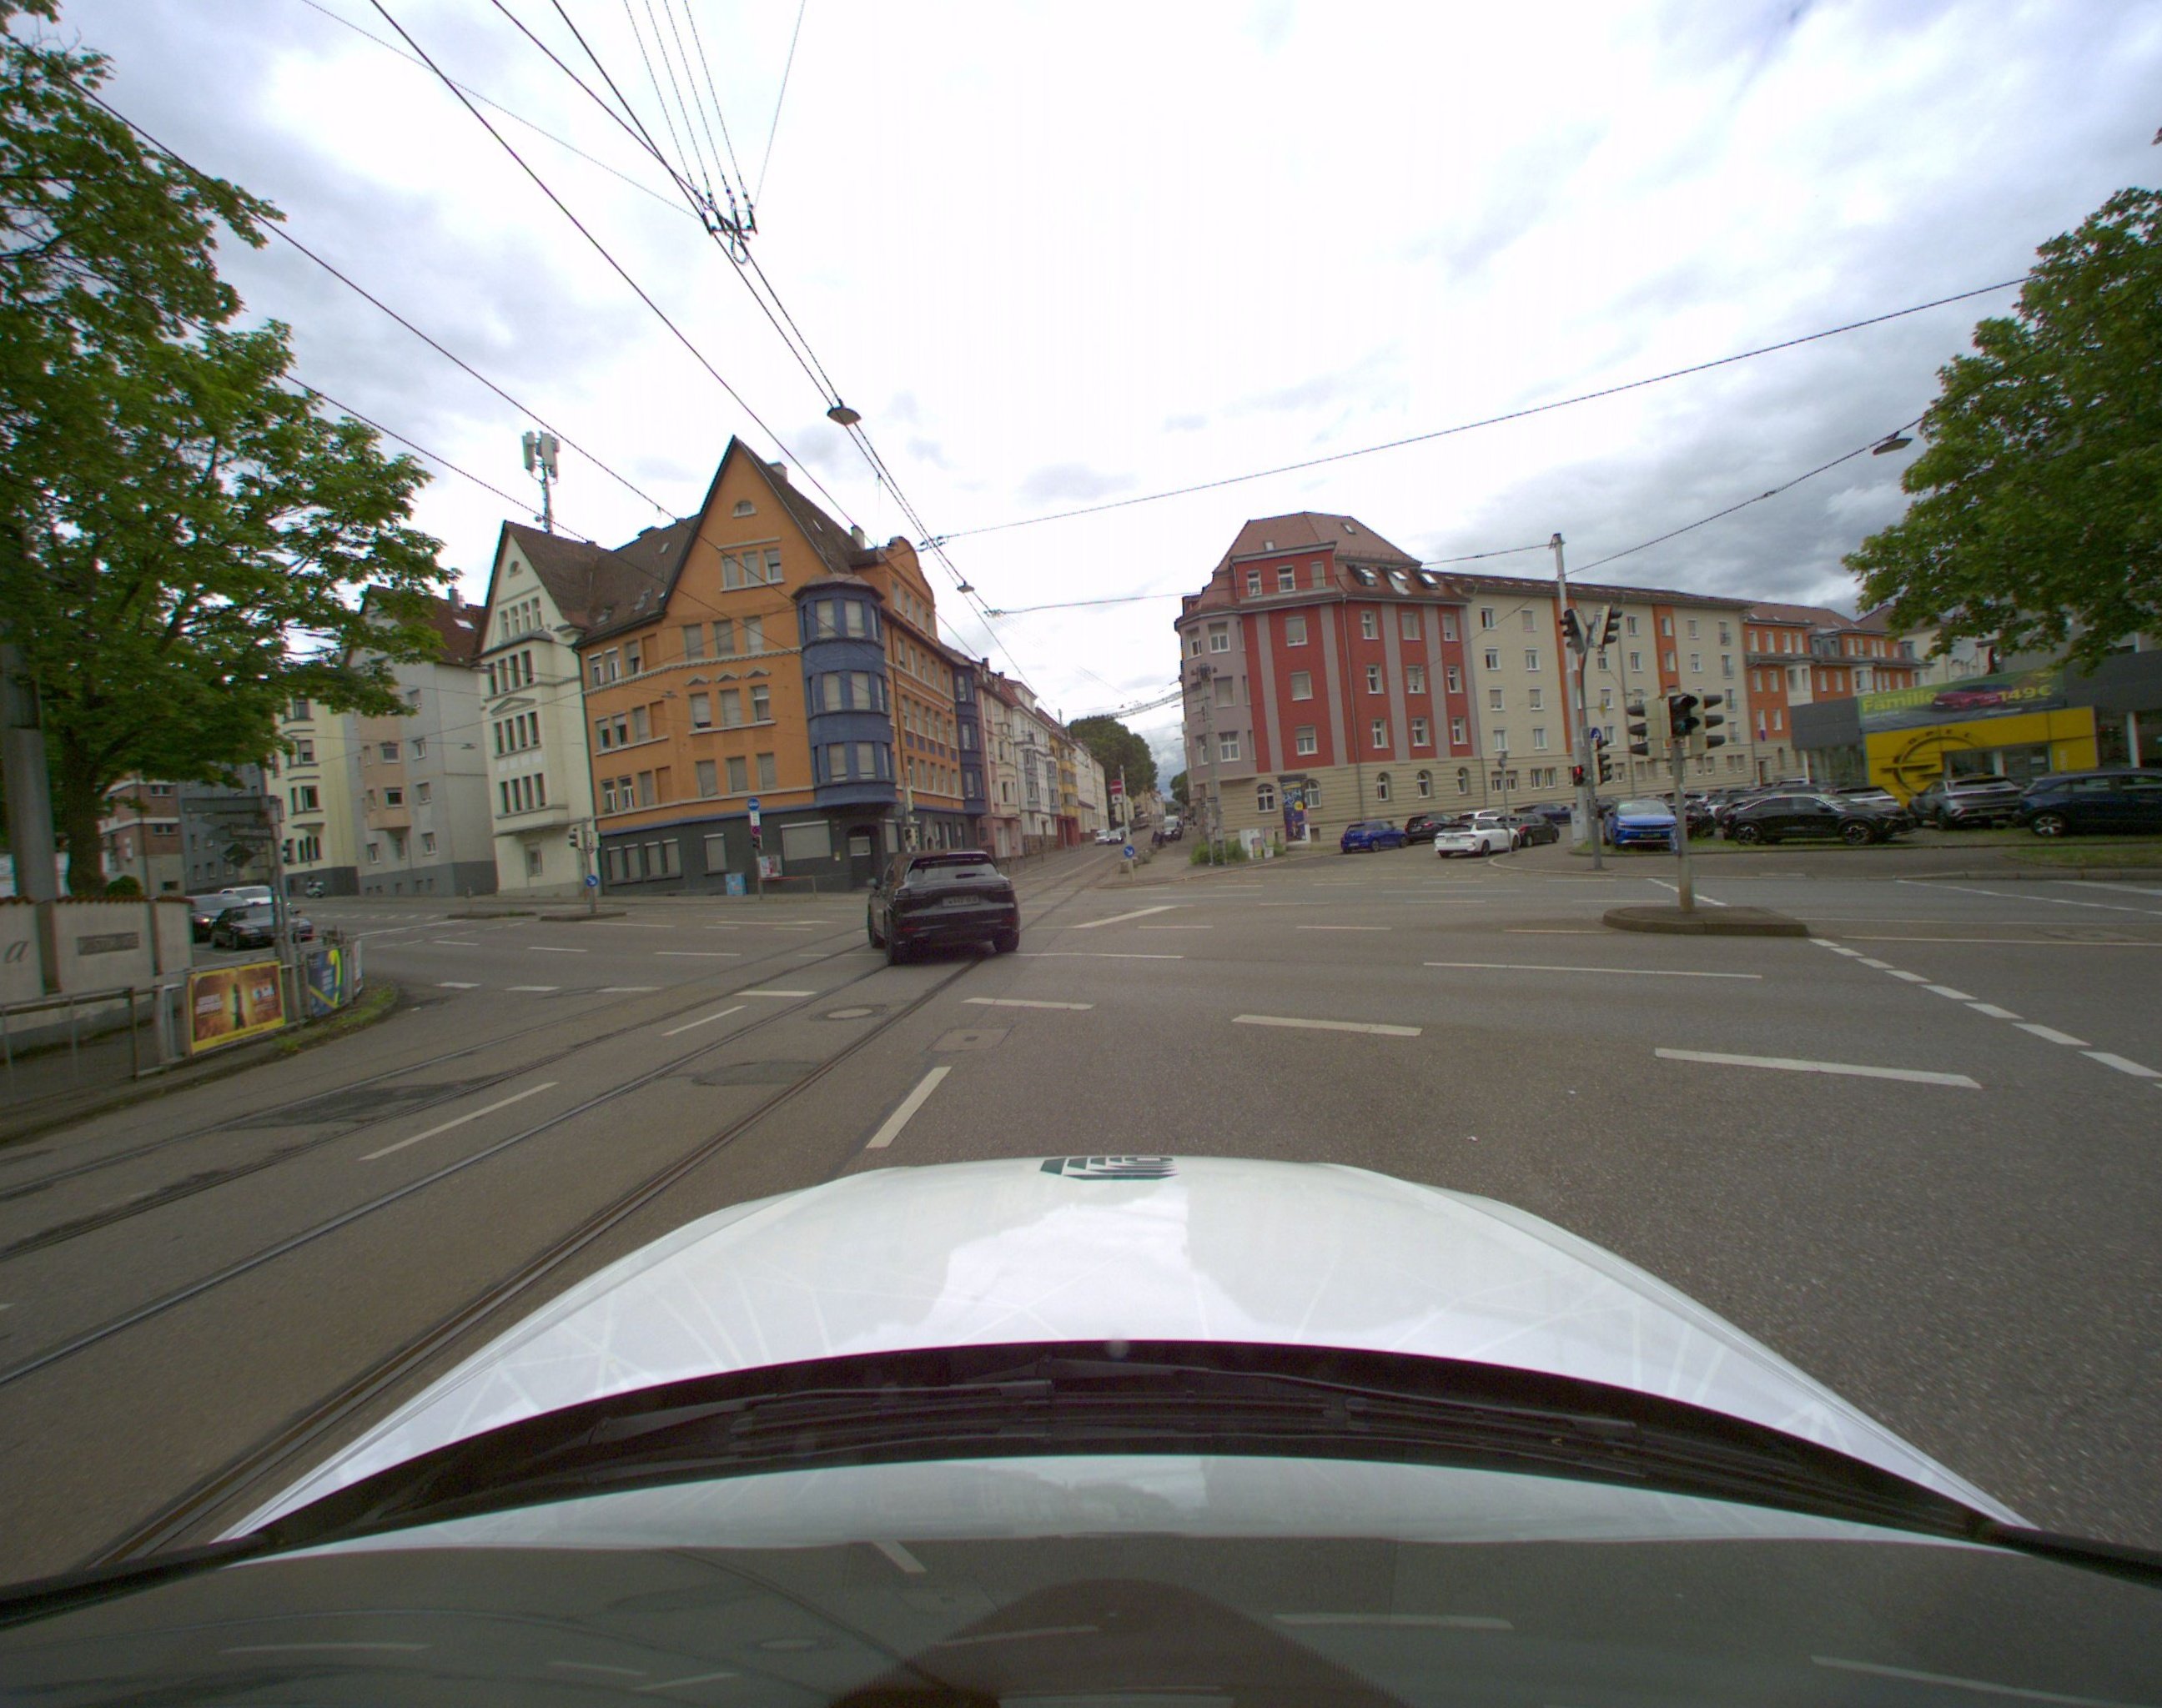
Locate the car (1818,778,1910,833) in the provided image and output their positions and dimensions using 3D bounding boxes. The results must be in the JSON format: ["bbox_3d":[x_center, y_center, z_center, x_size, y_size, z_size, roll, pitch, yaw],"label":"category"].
[{"bbox_3d":[25.577,-1.618,26.715,1.839,1.550,4.026,-3,3,40],"label":"car"}]

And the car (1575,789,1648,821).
[{"bbox_3d":[33.411,-3.086,51.322,4.148,1.632,1.903,-6,3,-24],"label":"car"}]

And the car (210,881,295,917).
[{"bbox_3d":[-40.685,2.188,39.996,4.270,1.546,1.793,-2,2,29],"label":"car"}]

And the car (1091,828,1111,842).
[{"bbox_3d":[2.606,-2.405,102.942,1.982,1.692,4.010,-3,1,8],"label":"car"}]

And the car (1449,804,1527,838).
[{"bbox_3d":[23.437,-1.894,46.868,4.152,1.632,1.901,-6,3,-27],"label":"car"}]

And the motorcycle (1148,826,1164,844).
[{"bbox_3d":[6.168,-1.542,66.944,0.857,1.326,2.183,-10,2,-1],"label":"motorcycle"}]

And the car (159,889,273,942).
[{"bbox_3d":[-32.834,2.271,30.891,4.356,1.641,1.971,-2,5,31],"label":"car"}]

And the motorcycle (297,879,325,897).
[{"bbox_3d":[-54.716,2.414,57.857,2.199,1.155,0.542,-2,5,26],"label":"motorcycle"}]

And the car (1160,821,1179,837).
[{"bbox_3d":[9.818,-2.761,90.334,1.830,1.568,3.829,-3,1,8],"label":"car"}]

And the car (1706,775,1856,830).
[{"bbox_3d":[27.103,-1.966,31.644,1.723,1.780,4.195,-7,4,-41],"label":"car"}]

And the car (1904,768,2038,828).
[{"bbox_3d":[26.617,-1.696,24.519,1.839,1.550,4.027,-3,2,35],"label":"car"}]

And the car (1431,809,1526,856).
[{"bbox_3d":[15.918,-0.877,32.547,4.165,1.534,1.895,-7,4,-41],"label":"car"}]

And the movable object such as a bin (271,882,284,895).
[{"bbox_3d":[-60.514,2.609,61.364,0.510,0.891,0.479,-2,5,28],"label":"movable object such as a bin"}]

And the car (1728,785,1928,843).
[{"bbox_3d":[21.785,-1.160,23.931,1.834,1.476,3.965,-6,4,-28],"label":"car"}]

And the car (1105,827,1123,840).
[{"bbox_3d":[3.836,-2.354,93.721,1.676,1.326,3.671,-3,1,8],"label":"car"}]

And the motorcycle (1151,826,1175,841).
[{"bbox_3d":[7.788,-1.928,77.401,2.171,1.326,0.699,-3,1,-3],"label":"motorcycle"}]

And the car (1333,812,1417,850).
[{"bbox_3d":[14.581,-1.135,40.310,4.162,1.534,1.897,-7,4,-38],"label":"car"}]

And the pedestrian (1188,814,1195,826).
[{"bbox_3d":[16.008,-4.919,118.272,0.673,1.632,0.678,-4,-2,32],"label":"pedestrian"}]

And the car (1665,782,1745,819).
[{"bbox_3d":[34.240,-2.945,44.679,4.153,1.645,1.901,-6,3,-28],"label":"car"}]

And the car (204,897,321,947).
[{"bbox_3d":[-27.266,2.206,27.106,4.181,1.281,1.820,-2,5,33],"label":"car"}]

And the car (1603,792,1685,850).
[{"bbox_3d":[18.250,-1.128,26.557,1.806,1.576,4.288,-2,4,30],"label":"car"}]

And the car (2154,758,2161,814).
[{"bbox_3d":[29.720,-1.805,20.840,1.839,1.550,4.026,-3,3,40],"label":"car"}]

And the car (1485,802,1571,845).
[{"bbox_3d":[19.774,-1.346,35.966,4.164,1.534,1.896,-7,4,-40],"label":"car"}]

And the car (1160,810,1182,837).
[{"bbox_3d":[10.664,-3.577,96.028,2.254,2.890,4.781,-3,1,8],"label":"car"}]

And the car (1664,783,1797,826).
[{"bbox_3d":[27.806,-2.080,35.001,1.801,1.534,4.076,-6,3,-32],"label":"car"}]

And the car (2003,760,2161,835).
[{"bbox_3d":[26.041,-1.400,20.048,1.835,1.606,4.131,-11,7,-28],"label":"car"}]

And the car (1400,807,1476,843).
[{"bbox_3d":[19.160,-1.562,43.644,4.162,1.534,1.897,-7,3,-37],"label":"car"}]

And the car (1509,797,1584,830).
[{"bbox_3d":[28.164,-2.461,49.259,4.152,1.632,1.901,-6,3,-27],"label":"car"}]

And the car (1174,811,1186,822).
[{"bbox_3d":[20.727,-7.909,170.844,2.254,2.183,4.781,-3,1,8],"label":"car"}]

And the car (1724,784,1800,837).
[{"bbox_3d":[23.340,-1.514,27.939,1.839,1.550,4.026,-3,3,40],"label":"car"}]

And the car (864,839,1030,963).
[{"bbox_3d":[-2.417,0.660,13.604,2.030,1.641,4.328,-2,0,-19],"label":"car"}]
